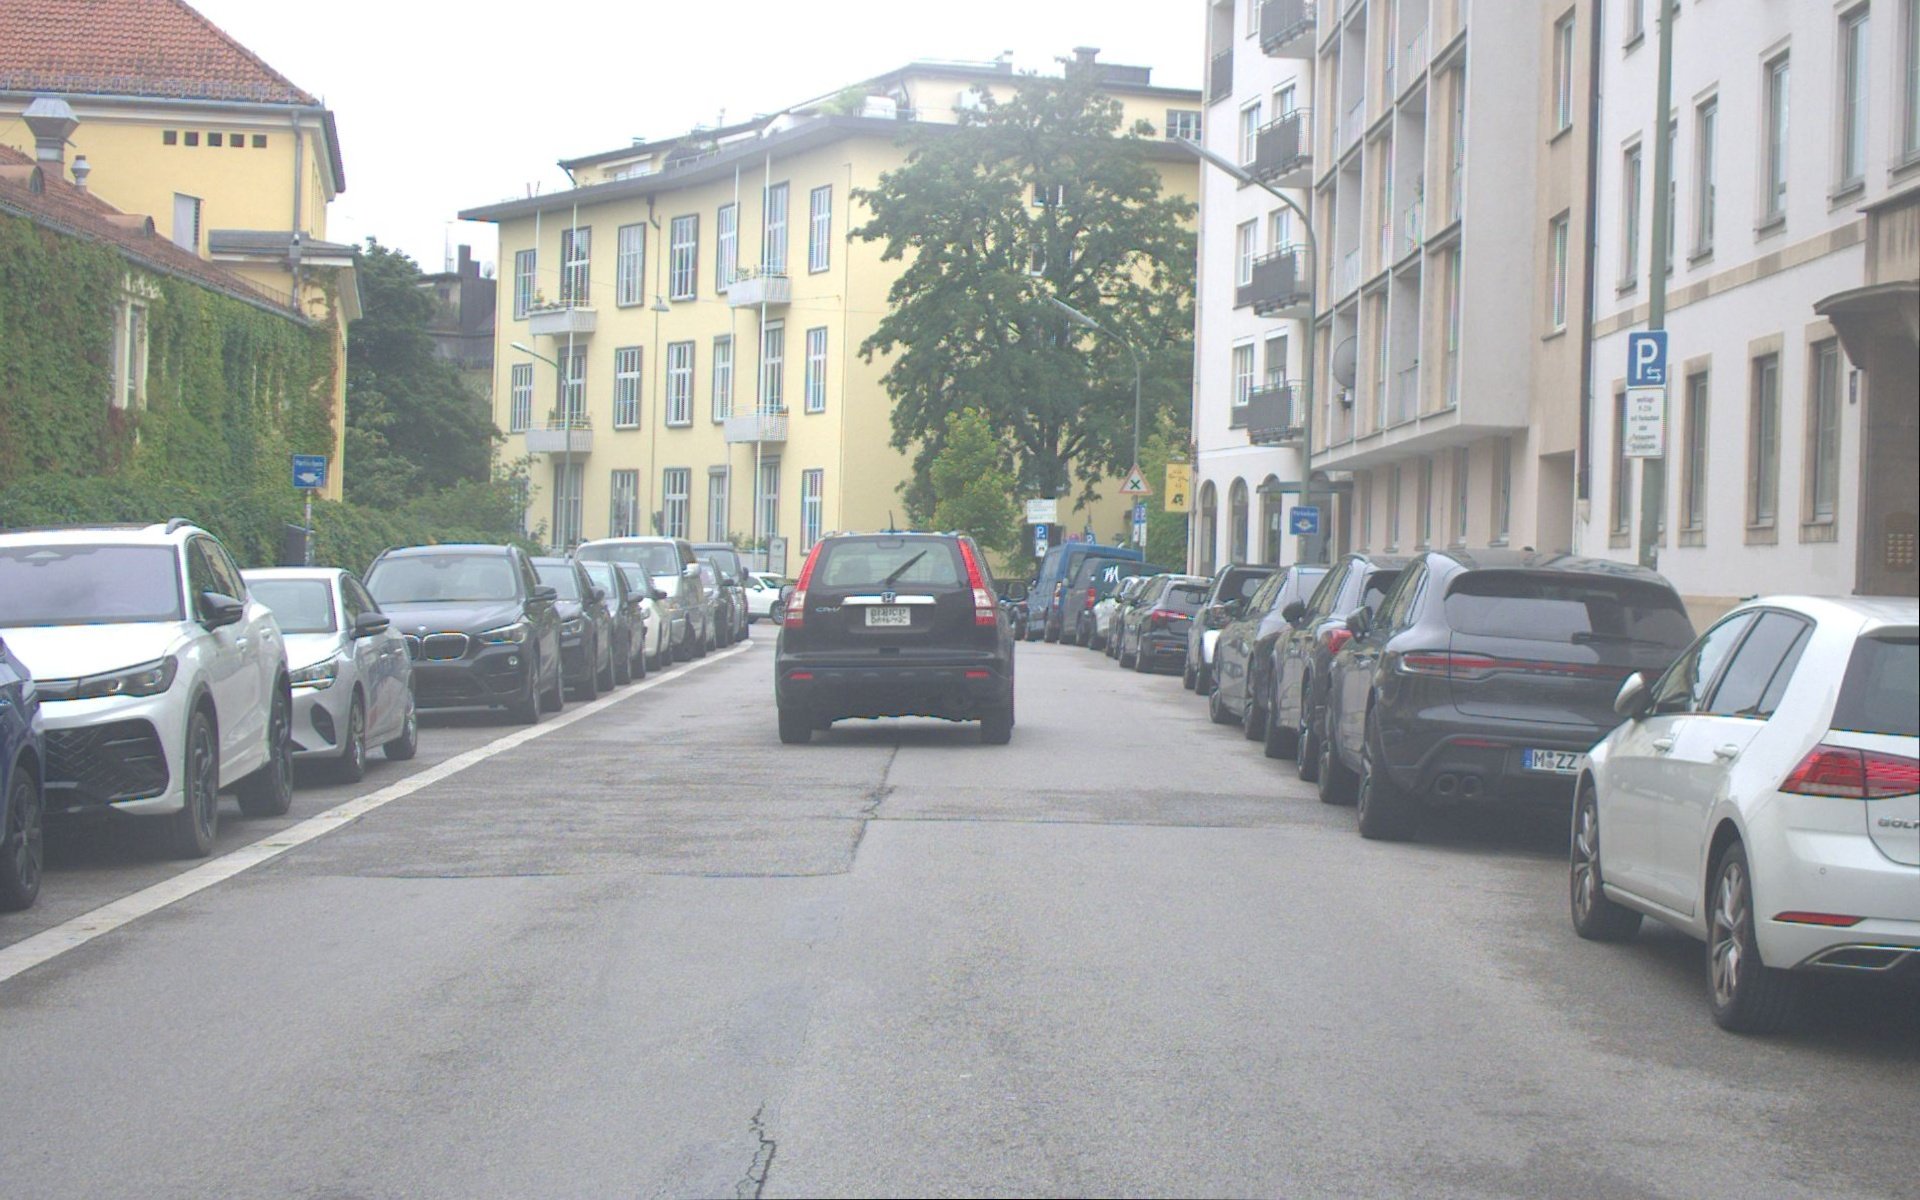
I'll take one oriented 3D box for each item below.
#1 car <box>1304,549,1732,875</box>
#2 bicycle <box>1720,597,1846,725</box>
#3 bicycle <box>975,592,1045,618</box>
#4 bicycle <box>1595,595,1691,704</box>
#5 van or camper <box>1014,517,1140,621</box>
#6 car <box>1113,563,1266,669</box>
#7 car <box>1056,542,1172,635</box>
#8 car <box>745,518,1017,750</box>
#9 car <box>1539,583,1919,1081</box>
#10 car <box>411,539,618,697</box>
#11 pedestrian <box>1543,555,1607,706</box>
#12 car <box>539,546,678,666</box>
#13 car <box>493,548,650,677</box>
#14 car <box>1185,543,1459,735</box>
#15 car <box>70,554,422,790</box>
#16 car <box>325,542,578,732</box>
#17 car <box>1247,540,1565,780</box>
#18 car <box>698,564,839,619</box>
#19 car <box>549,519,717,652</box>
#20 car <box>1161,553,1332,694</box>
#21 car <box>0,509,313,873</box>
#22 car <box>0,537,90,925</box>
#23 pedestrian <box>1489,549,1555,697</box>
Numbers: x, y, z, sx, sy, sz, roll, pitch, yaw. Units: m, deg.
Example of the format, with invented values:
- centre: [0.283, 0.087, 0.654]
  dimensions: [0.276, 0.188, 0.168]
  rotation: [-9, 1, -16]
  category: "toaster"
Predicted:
- centre: [3.036, 0.534, 19.546]
  dimensions: [1.778, 1.579, 4.330]
  rotation: [2, 1, 2]
  category: "car"
- centre: [7.613, 0.546, 31.891]
  dimensions: [0.659, 1.122, 2.028]
  rotation: [1, 1, 0]
  category: "bicycle"
- centre: [1.669, 0.179, 114.419]
  dimensions: [2.211, 0.776, 0.610]
  rotation: [2, 0, 13]
  category: "bicycle"
- centre: [7.657, 0.539, 38.615]
  dimensions: [0.659, 1.159, 2.028]
  rotation: [1, 1, 0]
  category: "bicycle"
- centre: [2.602, -0.731, 77.802]
  dimensions: [2.060, 2.223, 5.439]
  rotation: [1, 1, -6]
  category: "van or camper"
- centre: [3.338, 0.202, 50.764]
  dimensions: [1.796, 1.416, 4.483]
  rotation: [1, 1, -2]
  category: "car"
- centre: [3.193, -0.271, 72.299]
  dimensions: [1.964, 1.810, 4.936]
  rotation: [1, 1, -3]
  category: "car"
- centre: [-0.562, 0.219, 27.916]
  dimensions: [1.995, 1.688, 4.380]
  rotation: [2, 1, 1]
  category: "car"
- centre: [3.325, 0.739, 12.492]
  dimensions: [1.692, 1.459, 4.083]
  rotation: [4, 1, 1]
  category: "car"
- centre: [-4.690, 0.145, 36.714]
  dimensions: [1.781, 1.532, 4.149]
  rotation: [2, 1, -2]
  category: "car"
- centre: [6.525, 0.316, 36.495]
  dimensions: [0.531, 1.579, 0.560]
  rotation: [1, 1, 0]
  category: "pedestrian"
- centre: [-4.754, 0.053, 46.860]
  dimensions: [1.578, 1.487, 3.730]
  rotation: [3, 1, -2]
  category: "car"
- centre: [-4.680, 0.117, 41.819]
  dimensions: [1.578, 1.450, 3.905]
  rotation: [2, 1, -2]
  category: "car"
- centre: [3.140, 0.284, 30.729]
  dimensions: [1.856, 1.539, 4.816]
  rotation: [1, 1, -1]
  category: "car"
- centre: [-4.701, 0.417, 23.128]
  dimensions: [1.680, 1.421, 3.895]
  rotation: [-1, 1, -2]
  category: "car"
- centre: [-4.530, 0.277, 31.140]
  dimensions: [1.781, 1.532, 4.196]
  rotation: [2, 1, -2]
  category: "car"
- centre: [3.136, 0.362, 24.931]
  dimensions: [1.778, 1.579, 4.271]
  rotation: [0, 1, 1]
  category: "car"
- centre: [-6.110, -0.273, 109.487]
  dimensions: [3.993, 1.612, 1.997]
  rotation: [2, 1, 26]
  category: "car"
- centre: [-4.894, -0.246, 52.034]
  dimensions: [1.993, 1.869, 4.758]
  rotation: [2, 1, 1]
  category: "car"
- centre: [3.343, 0.239, 40.668]
  dimensions: [1.671, 1.529, 3.881]
  rotation: [2, 1, 0]
  category: "car"
- centre: [-4.503, 0.381, 17.626]
  dimensions: [1.680, 1.628, 4.357]
  rotation: [-1, 1, -2]
  category: "car"
- centre: [-4.557, 0.531, 12.726]
  dimensions: [1.680, 1.500, 3.974]
  rotation: [-1, 1, -1]
  category: "car"
- centre: [6.348, 0.257, 38.866]
  dimensions: [0.596, 1.648, 0.630]
  rotation: [1, 1, 0]
  category: "pedestrian"
